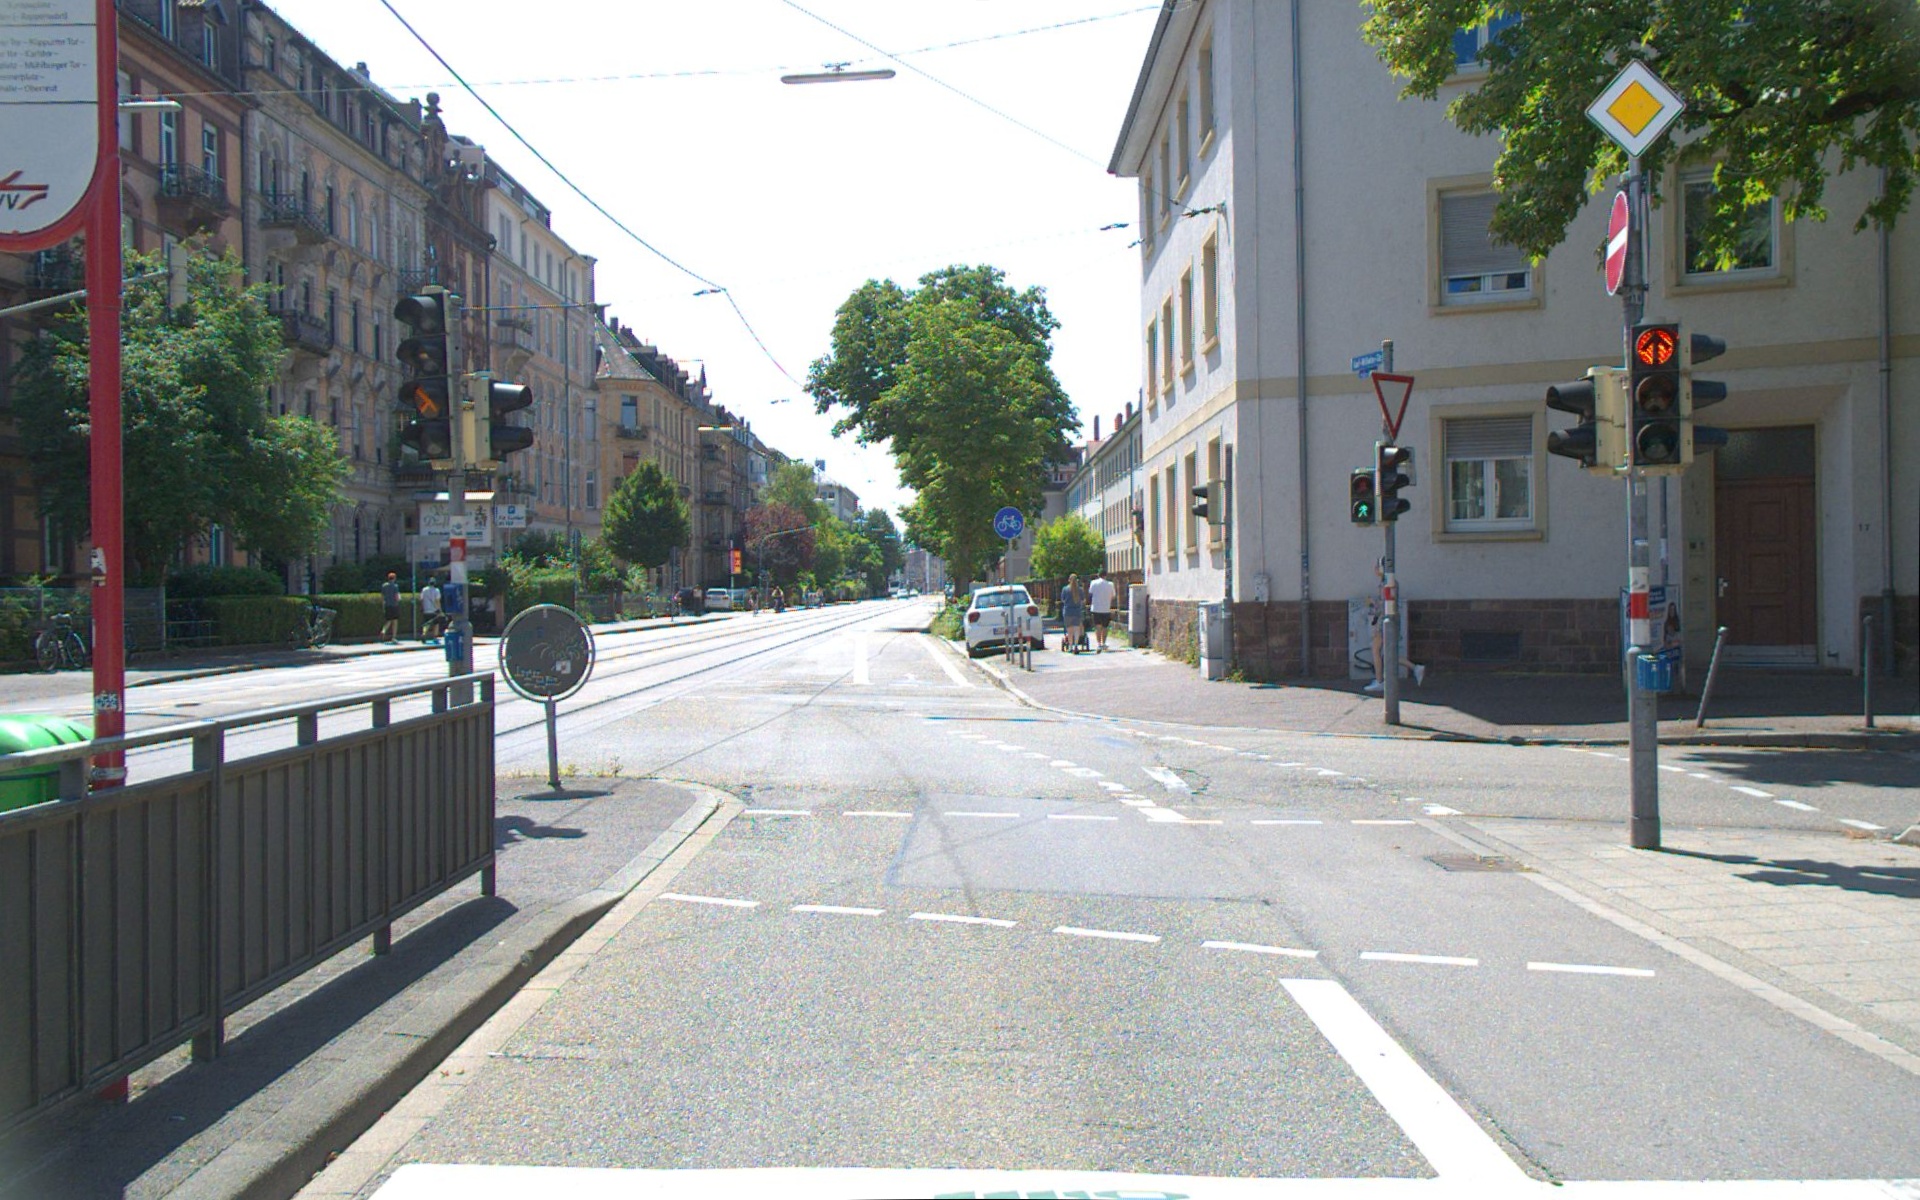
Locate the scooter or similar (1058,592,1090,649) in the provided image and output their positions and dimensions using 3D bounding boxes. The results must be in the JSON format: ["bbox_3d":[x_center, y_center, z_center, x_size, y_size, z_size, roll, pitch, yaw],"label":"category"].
[{"bbox_3d":[2.418,0.424,34.978,0.545,1.175,1.206,1,0,9],"label":"scooter or similar"}]

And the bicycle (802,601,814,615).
[{"bbox_3d":[-12.206,0.658,132.650,0.712,1.142,2.085,1,0,1],"label":"bicycle"}]

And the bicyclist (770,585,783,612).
[{"bbox_3d":[-12.180,-0.097,109.795,0.712,1.799,1.079,1,0,1],"label":"bicyclist"}]

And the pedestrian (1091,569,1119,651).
[{"bbox_3d":[3.013,0.201,34.350,0.545,1.674,0.677,1,-1,5],"label":"pedestrian"}]

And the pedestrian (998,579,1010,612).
[{"bbox_3d":[2.138,-0.206,80.635,0.511,1.590,0.573,-1,0,-1],"label":"pedestrian"}]

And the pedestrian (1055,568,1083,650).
[{"bbox_3d":[2.250,0.186,34.023,0.545,1.674,0.677,1,-1,5],"label":"pedestrian"}]

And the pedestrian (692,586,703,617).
[{"bbox_3d":[-14.270,0.060,89.993,0.510,1.688,0.529,-1,0,-1],"label":"pedestrian"}]

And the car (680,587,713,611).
[{"bbox_3d":[-19.677,-0.071,123.605,1.880,1.745,3.999,1,0,-1],"label":"car"}]

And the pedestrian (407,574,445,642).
[{"bbox_3d":[-14.721,0.219,45.625,0.800,1.854,0.873,1,1,-5],"label":"pedestrian"}]

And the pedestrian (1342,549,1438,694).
[{"bbox_3d":[5.493,0.270,21.104,1.032,1.719,0.654,-5,3,18],"label":"pedestrian"}]

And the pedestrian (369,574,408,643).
[{"bbox_3d":[-15.613,0.217,45.175,0.800,1.854,0.873,1,1,-5],"label":"pedestrian"}]

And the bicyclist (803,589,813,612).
[{"bbox_3d":[-12.189,0.026,132.707,0.712,1.850,1.079,1,0,1],"label":"bicyclist"}]

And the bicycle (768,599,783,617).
[{"bbox_3d":[-12.202,0.536,109.693,0.712,1.142,2.085,1,0,1],"label":"bicycle"}]

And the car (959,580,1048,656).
[{"bbox_3d":[0.928,0.396,37.320,1.778,1.542,3.999,-3,0,-1],"label":"car"}]

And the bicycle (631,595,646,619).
[{"bbox_3d":[-15.500,0.332,79.785,0.665,1.083,1.913,-1,0,-12],"label":"bicycle"}]

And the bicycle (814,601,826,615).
[{"bbox_3d":[-11.242,0.647,132.913,0.712,1.142,2.085,1,0,1],"label":"bicycle"}]

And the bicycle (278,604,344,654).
[{"bbox_3d":[-15.872,0.695,40.515,0.920,1.156,2.767,1,0,-9],"label":"bicycle"}]

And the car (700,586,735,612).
[{"bbox_3d":[-16.877,-0.057,115.310,1.880,1.745,3.999,1,0,-1],"label":"car"}]

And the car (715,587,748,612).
[{"bbox_3d":[-17.045,-0.025,123.571,1.880,1.745,3.999,1,0,-1],"label":"car"}]

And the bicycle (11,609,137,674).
[{"bbox_3d":[-16.712,0.754,31.302,0.918,1.156,2.773,1,0,-2],"label":"bicycle"}]

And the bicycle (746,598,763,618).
[{"bbox_3d":[-12.104,0.474,97.462,0.712,1.142,2.085,1,0,1],"label":"bicycle"}]

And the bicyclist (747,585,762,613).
[{"bbox_3d":[-12.095,-0.061,97.471,0.712,1.657,1.079,1,0,1],"label":"bicyclist"}]

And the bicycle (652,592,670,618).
[{"bbox_3d":[-15.277,0.246,84.433,0.664,1.301,1.917,-1,0,-4],"label":"bicycle"}]

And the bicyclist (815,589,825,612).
[{"bbox_3d":[-11.234,0.021,132.859,0.712,1.850,1.079,1,0,1],"label":"bicyclist"}]

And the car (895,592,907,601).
[{"bbox_3d":[-9.010,-0.506,251.460,1.671,1.300,3.999,1,0,-1],"label":"car"}]
